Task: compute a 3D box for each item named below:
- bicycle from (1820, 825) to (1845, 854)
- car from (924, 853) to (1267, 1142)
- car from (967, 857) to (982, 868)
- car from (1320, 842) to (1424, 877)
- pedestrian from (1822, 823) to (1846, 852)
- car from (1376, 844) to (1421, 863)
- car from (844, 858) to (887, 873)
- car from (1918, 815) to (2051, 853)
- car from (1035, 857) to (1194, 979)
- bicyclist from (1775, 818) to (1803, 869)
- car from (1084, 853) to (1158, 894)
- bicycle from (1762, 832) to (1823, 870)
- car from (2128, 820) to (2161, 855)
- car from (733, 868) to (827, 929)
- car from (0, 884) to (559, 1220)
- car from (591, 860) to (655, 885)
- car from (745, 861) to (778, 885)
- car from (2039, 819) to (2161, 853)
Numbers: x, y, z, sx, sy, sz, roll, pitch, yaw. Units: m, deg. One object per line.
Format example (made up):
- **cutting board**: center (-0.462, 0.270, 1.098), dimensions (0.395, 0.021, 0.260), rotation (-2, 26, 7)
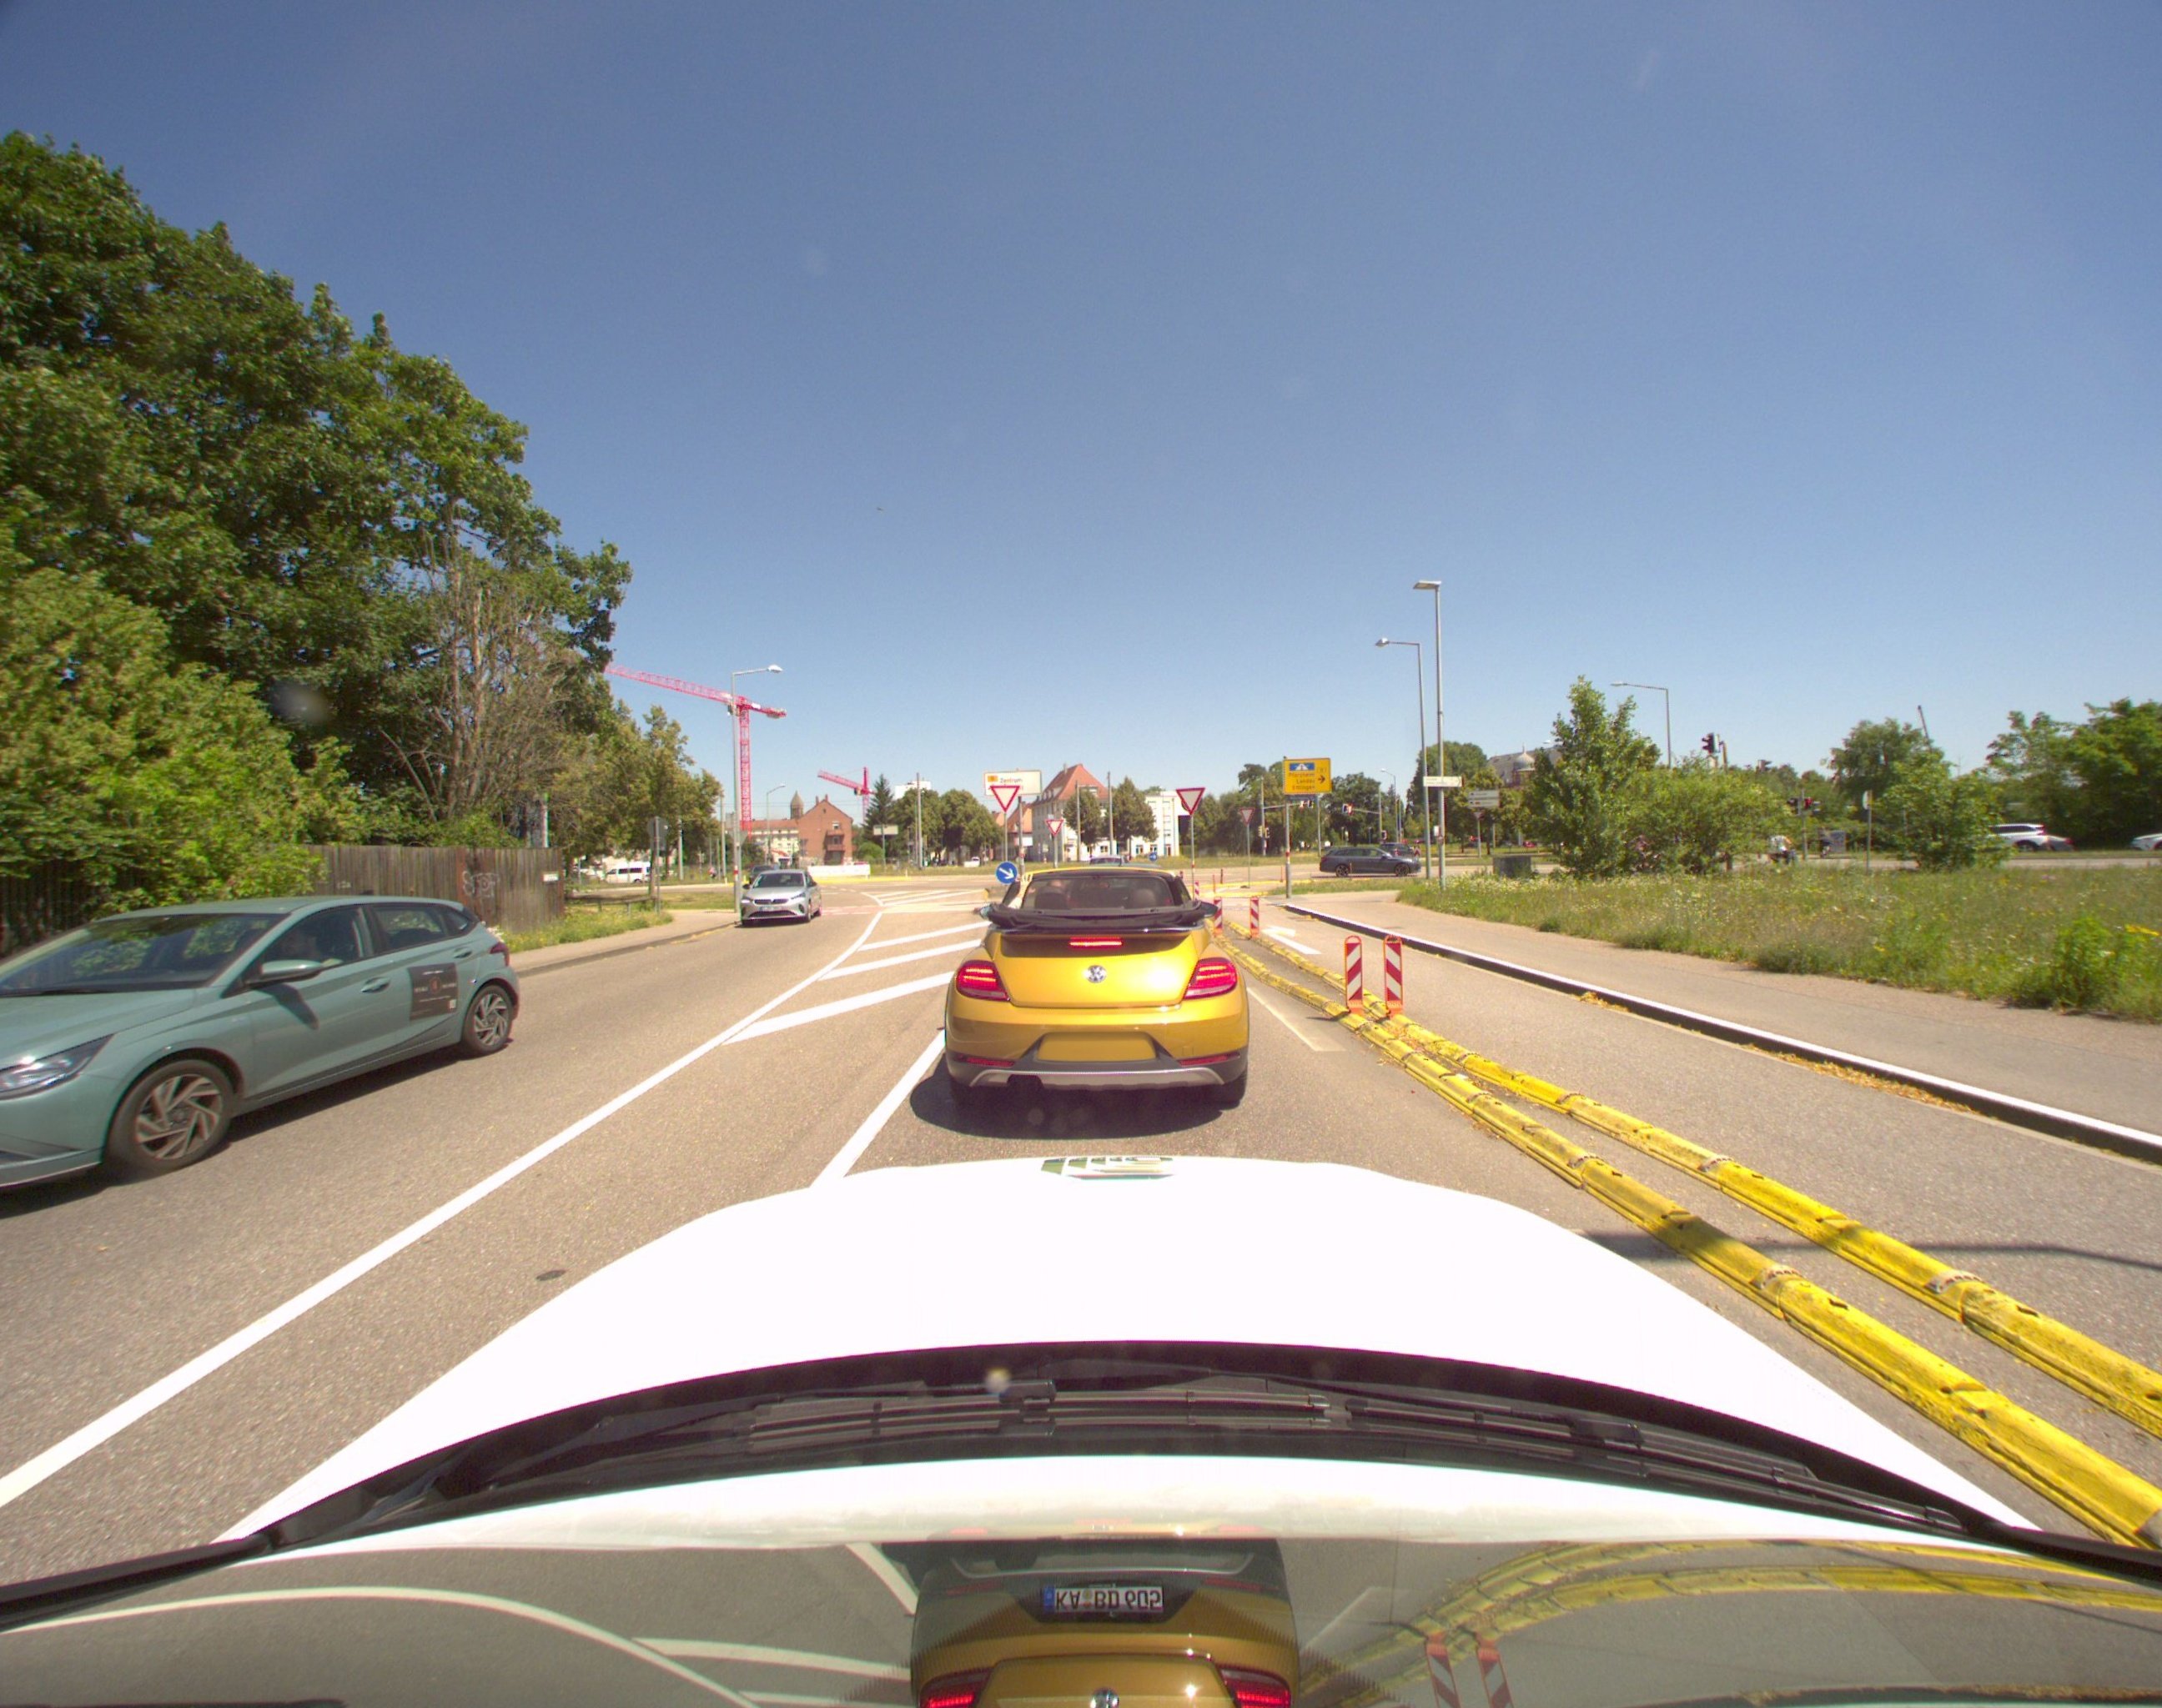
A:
- **bicycle**: center (42.879, -0.800, 46.462), dimensions (0.972, 1.597, 2.900), rotation (-1, -1, 43)
- **car**: center (0.139, 0.760, 6.338), dimensions (1.758, 1.481, 4.259), rotation (0, -1, 2)
- **car**: center (-20.131, 1.654, 153.775), dimensions (1.993, 2.070, 5.296), rotation (0, -1, -17)
- **car**: center (13.822, 0.237, 38.885), dimensions (4.492, 1.481, 2.081), rotation (-2, 0, 17)
- **pedestrian**: center (42.941, -0.929, 46.437), dimensions (0.959, 1.660, 0.892), rotation (-1, -1, 44)
- **car**: center (21.481, -0.014, 55.062), dimensions (3.233, 1.259, 1.422), rotation (0, -1, -39)
- **car**: center (-24.498, 1.295, 92.543), dimensions (4.371, 1.654, 1.877), rotation (0, -1, -45)
- **car**: center (45.866, -0.968, 41.496), dimensions (4.389, 1.736, 1.860), rotation (-1, -1, 43)
- **car**: center (0.465, 0.764, 11.781), dimensions (1.844, 1.366, 4.260), rotation (-2, 0, 2)
- **bicyclist**: center (25.864, -0.376, 29.749), dimensions (0.573, 1.841, 0.603), rotation (0, -1, -29)
- **car**: center (1.571, 0.695, 30.226), dimensions (2.051, 1.382, 4.272), rotation (-1, -1, 12)
- **bicycle**: center (25.855, -0.101, 29.573), dimensions (2.902, 1.353, 0.635), rotation (0, -1, -28)
- **car**: center (51.275, -0.780, 36.946), dimensions (4.389, 1.592, 1.860), rotation (-1, -1, 43)
- **car**: center (-8.290, 1.156, 22.799), dimensions (1.728, 1.402, 4.254), rotation (-3, 0, -11)
- **car**: center (-5.847, 1.011, 5.781), dimensions (1.744, 1.371, 4.323), rotation (-2, 0, -5)
- **car**: center (-46.145, 1.873, 82.144), dimensions (5.305, 2.397, 1.989), rotation (0, -1, -7)
- **car**: center (-23.888, 1.402, 60.963), dimensions (1.752, 1.706, 3.981), rotation (0, -1, -14)
- **car**: center (51.340, -0.851, 40.606), dimensions (4.389, 1.592, 1.860), rotation (-1, -1, 43)
